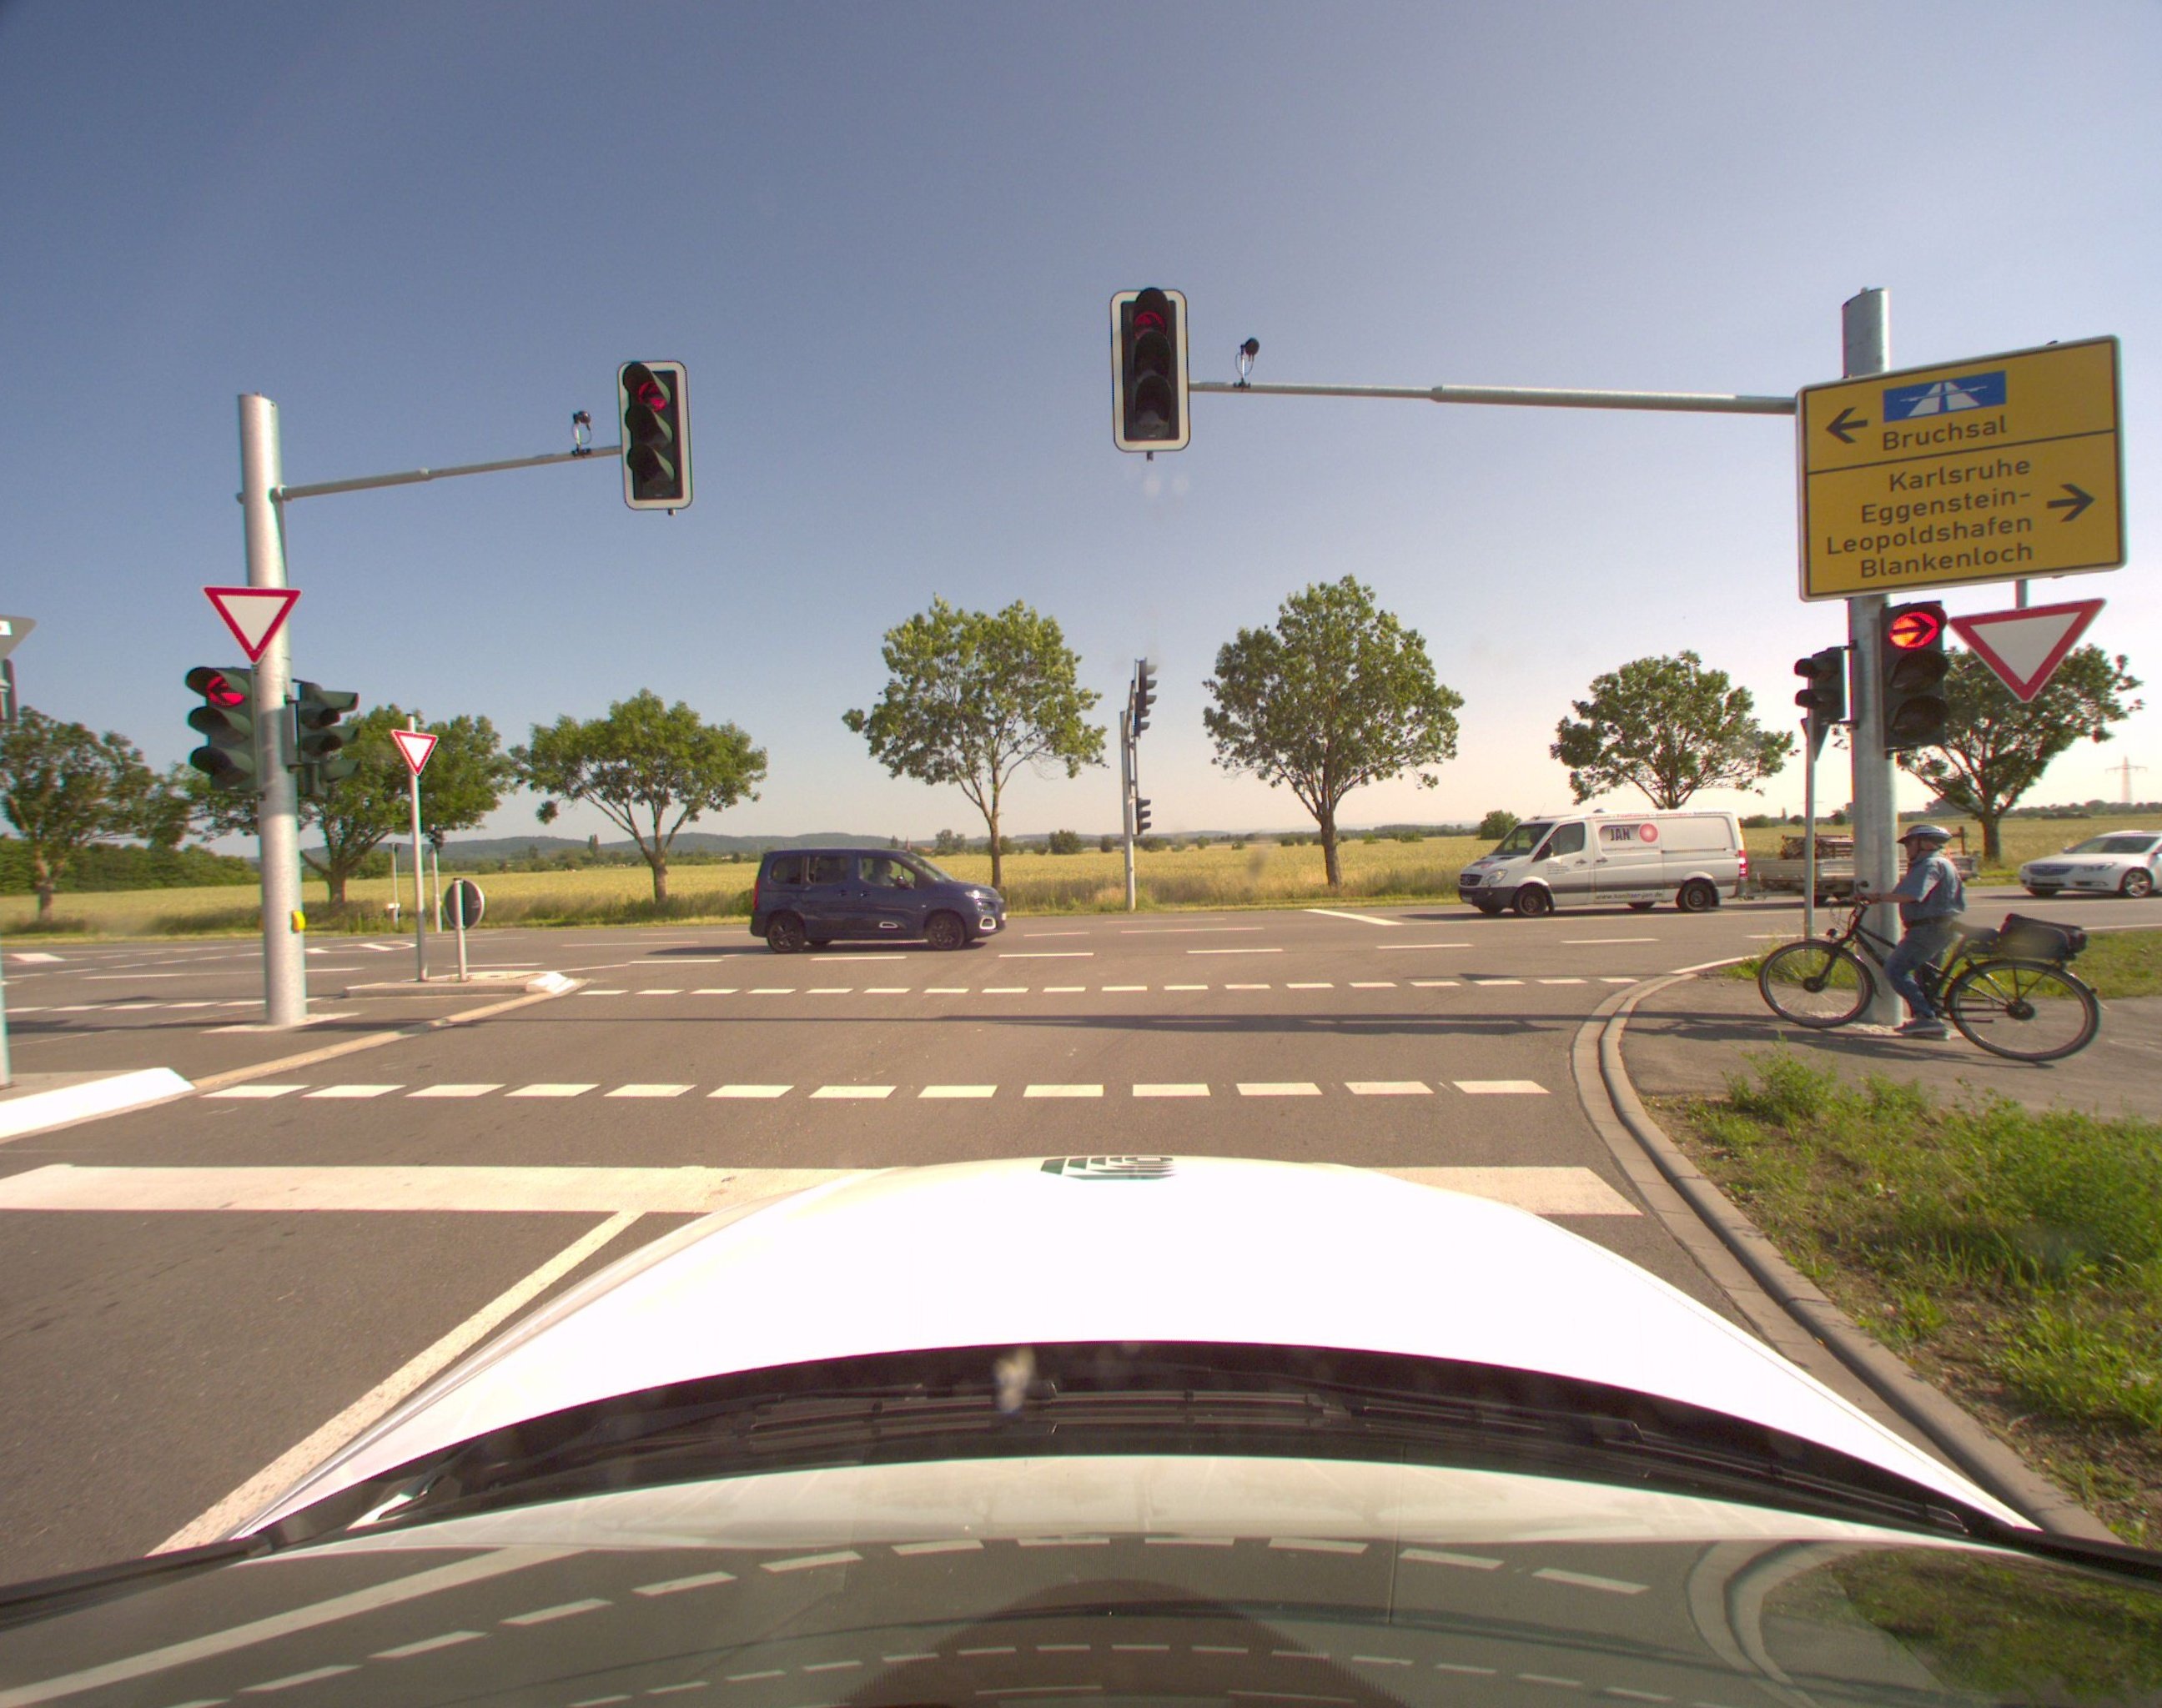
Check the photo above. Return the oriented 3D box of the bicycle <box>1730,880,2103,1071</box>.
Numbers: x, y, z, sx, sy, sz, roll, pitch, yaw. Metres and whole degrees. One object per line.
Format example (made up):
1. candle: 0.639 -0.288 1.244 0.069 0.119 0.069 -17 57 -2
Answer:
1. bicycle: 6.357 0.838 6.350 0.685 1.151 1.922 0 2 -44

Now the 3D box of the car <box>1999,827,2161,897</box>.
1. car: 24.656 0.133 18.976 4.682 1.492 1.763 -2 -1 -3

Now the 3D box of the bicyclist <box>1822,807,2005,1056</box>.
1. bicyclist: 6.403 0.537 6.298 0.623 1.765 0.906 0 1 -44

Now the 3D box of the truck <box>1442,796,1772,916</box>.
1. truck: 11.834 0.064 18.656 6.157 2.405 2.071 -2 -1 0

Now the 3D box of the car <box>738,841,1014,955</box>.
1. car: -3.565 0.766 14.723 4.435 1.834 1.847 -1 -1 2

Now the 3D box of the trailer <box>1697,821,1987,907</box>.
1. trailer: 17.420 0.229 18.816 4.984 1.738 1.979 -2 -1 -3
